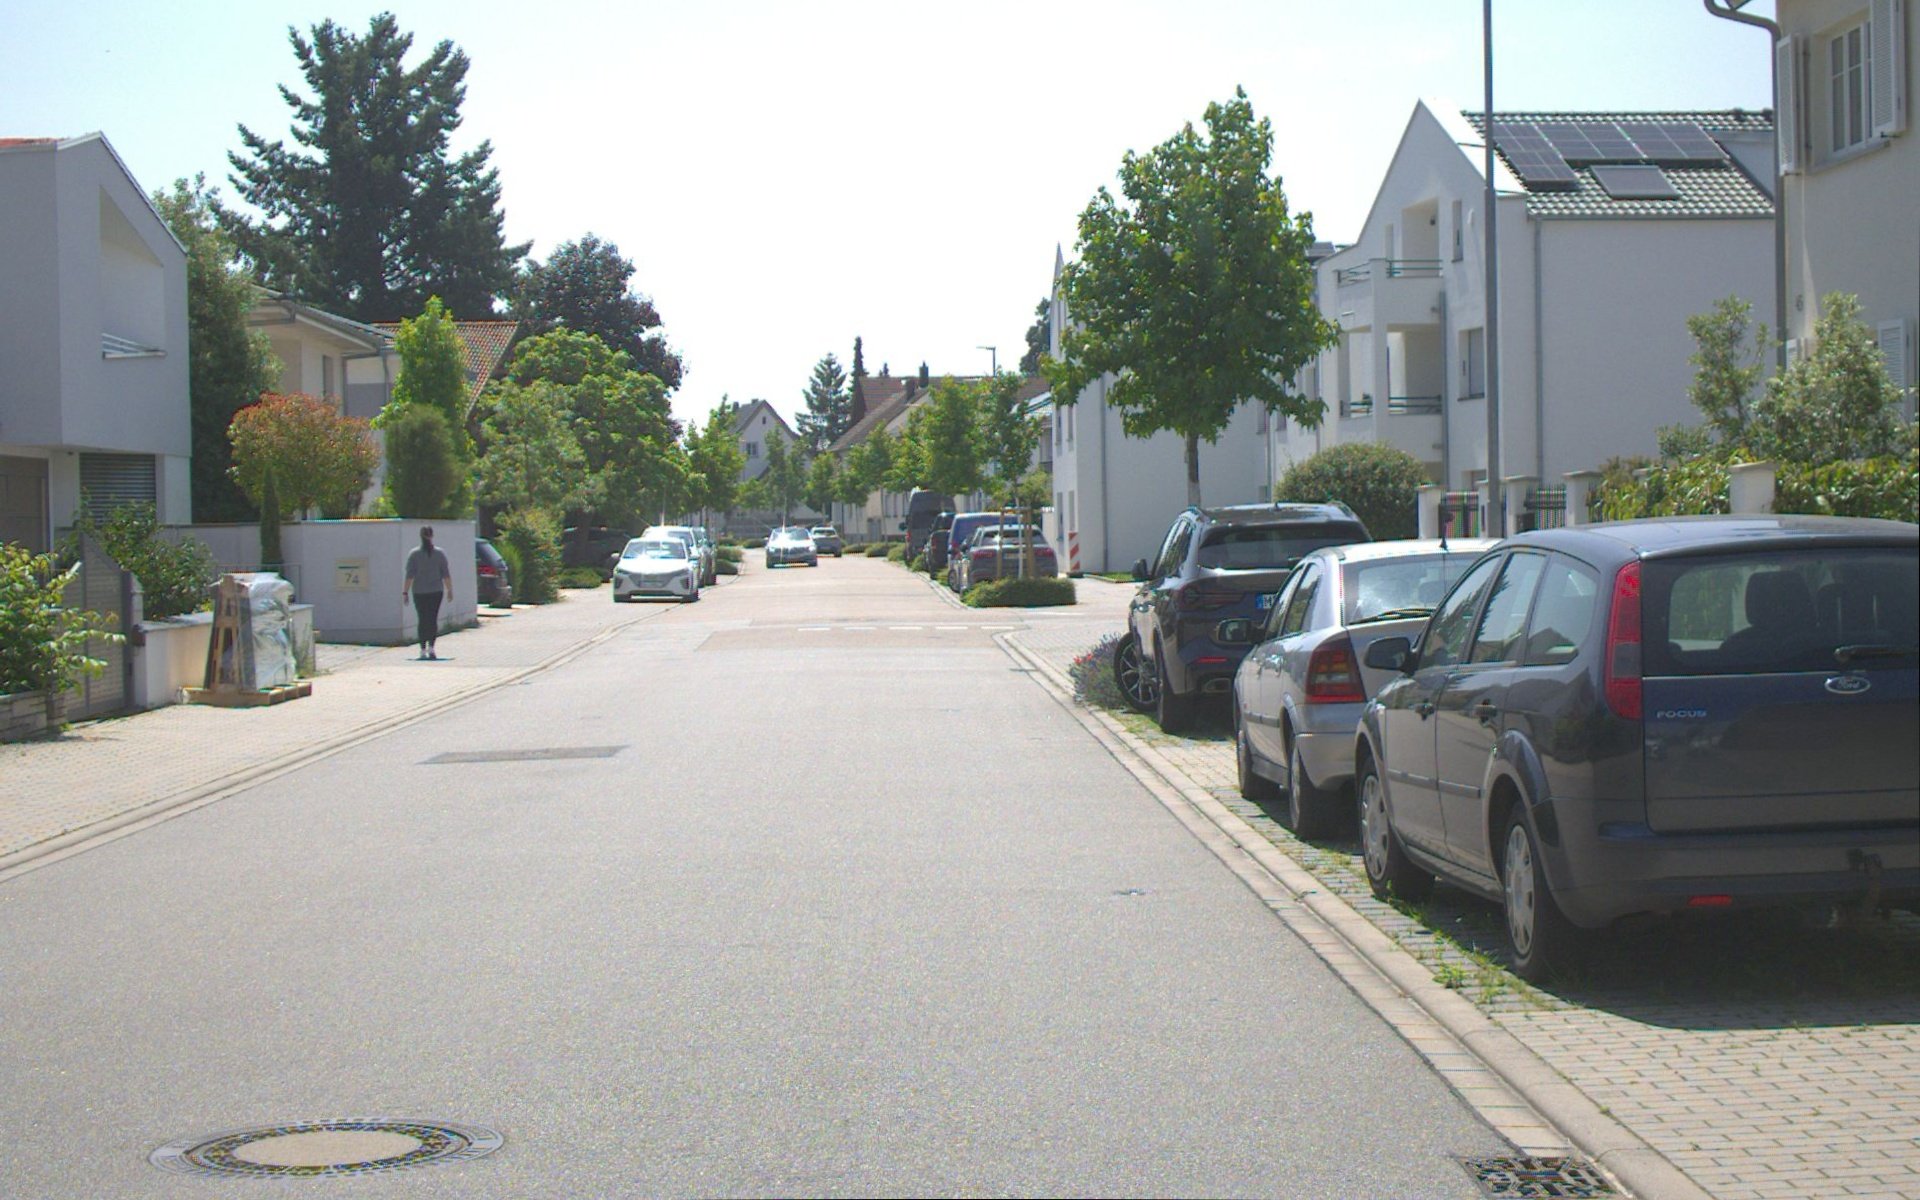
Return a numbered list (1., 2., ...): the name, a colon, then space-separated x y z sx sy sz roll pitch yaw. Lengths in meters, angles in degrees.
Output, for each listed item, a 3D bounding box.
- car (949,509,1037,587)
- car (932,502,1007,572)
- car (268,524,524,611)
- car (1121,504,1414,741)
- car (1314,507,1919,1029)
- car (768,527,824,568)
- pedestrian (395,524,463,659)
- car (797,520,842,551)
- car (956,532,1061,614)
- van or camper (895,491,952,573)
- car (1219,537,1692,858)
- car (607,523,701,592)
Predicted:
1. car: 0.809 -1.334 87.475 2.099 1.875 4.843 -1 1 -1
2. car: 0.248 -1.872 101.815 1.993 1.940 5.215 -2 1 -1
3. car: -10.581 -0.624 64.728 4.429 1.468 1.850 2 1 3
4. car: 2.343 0.101 27.232 1.814 1.650 4.565 -1 2 -1
5. car: 2.534 0.449 12.536 1.741 1.528 4.450 -1 1 -3
6. car: -6.234 -2.020 130.981 1.853 1.473 4.700 -1 1 0
7. pedestrian: -6.947 -0.119 45.037 0.714 1.741 0.961 -1 1 -1
8. car: -6.888 -3.173 168.724 1.993 1.425 4.000 -1 1 0
9. car: 0.963 -0.587 70.553 1.773 1.590 4.280 -1 1 -4
10. van or camper: -1.365 -2.495 126.684 1.993 2.931 4.001 -1 1 -2
11. car: 2.465 0.417 18.077 1.814 1.415 4.093 -1 2 -1
12. car: -7.013 -0.997 79.088 1.852 1.483 4.386 -1 1 -1
